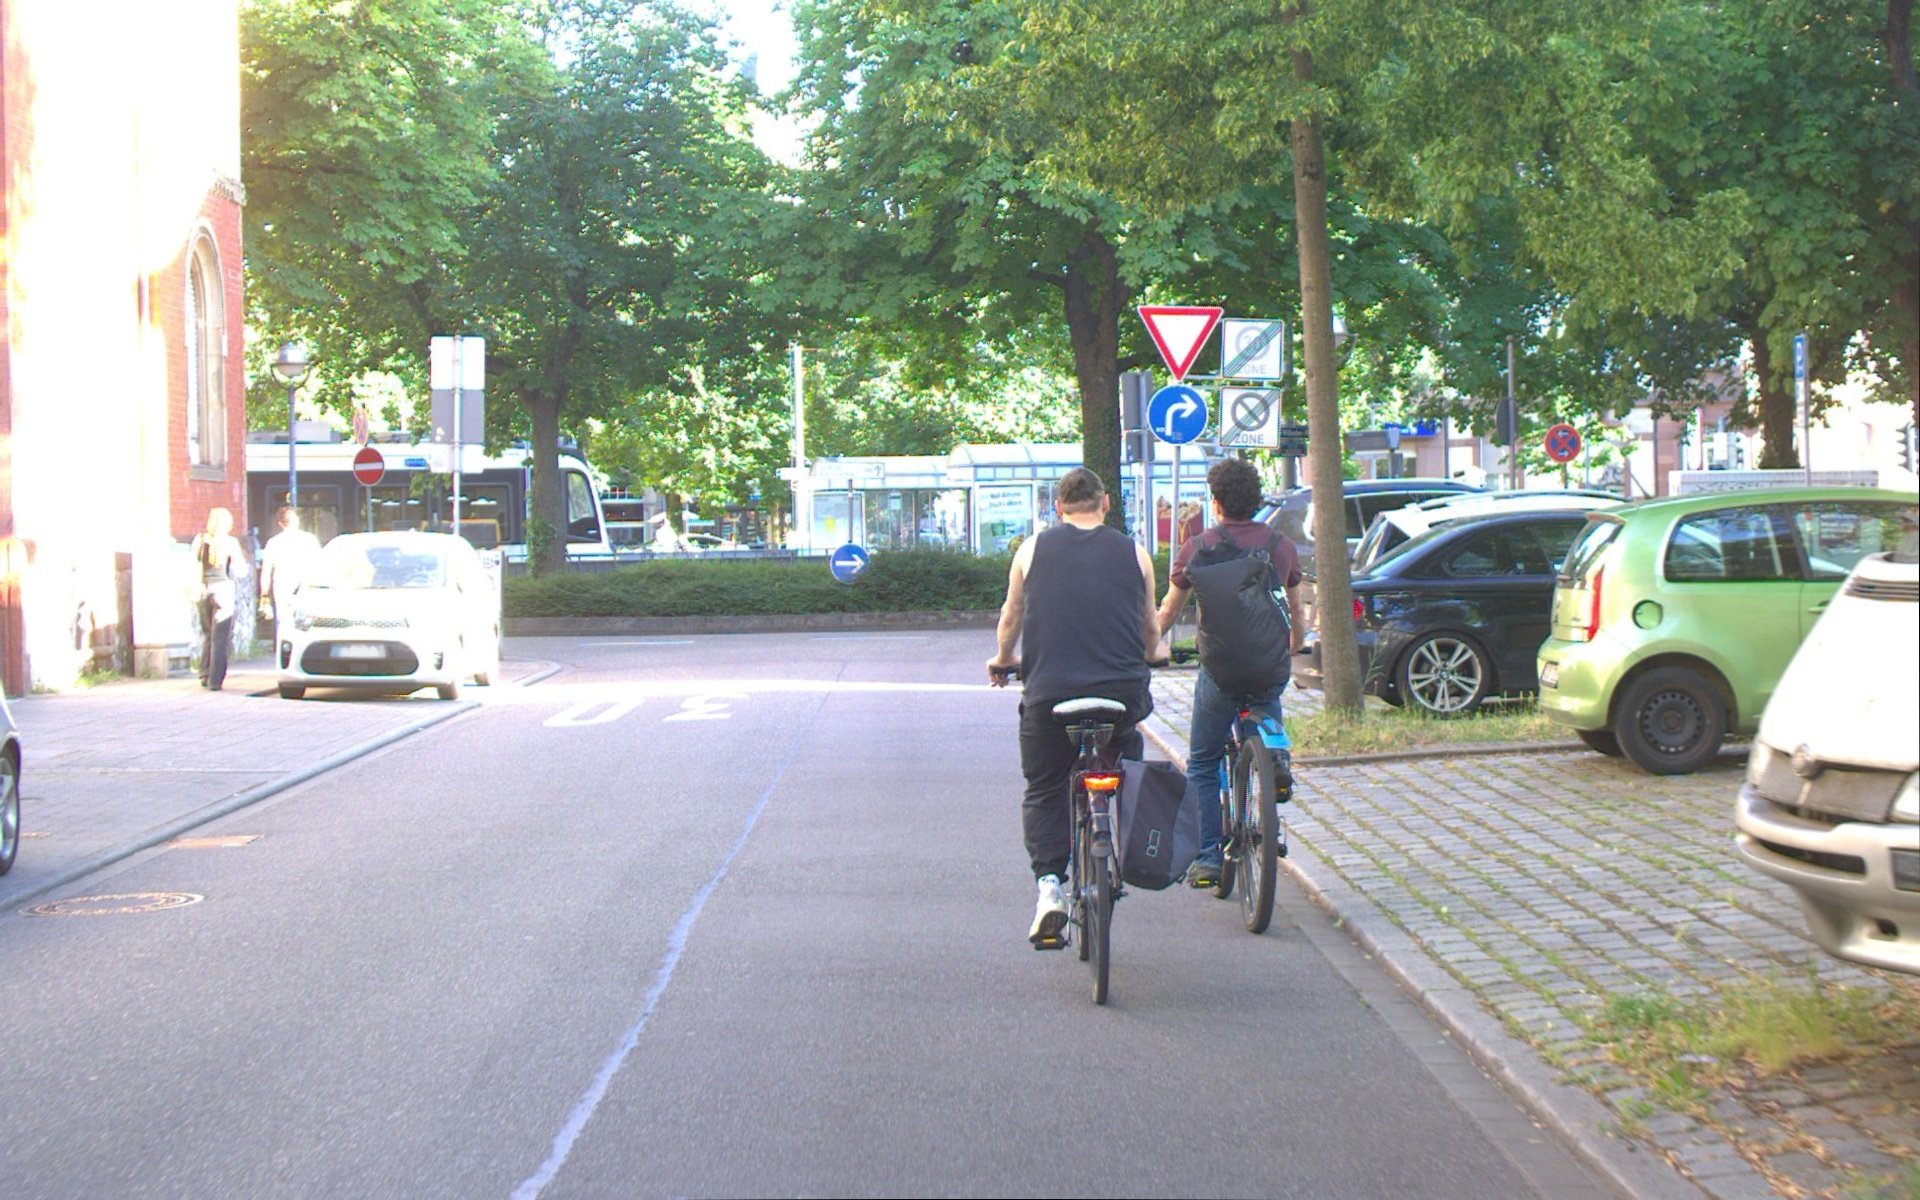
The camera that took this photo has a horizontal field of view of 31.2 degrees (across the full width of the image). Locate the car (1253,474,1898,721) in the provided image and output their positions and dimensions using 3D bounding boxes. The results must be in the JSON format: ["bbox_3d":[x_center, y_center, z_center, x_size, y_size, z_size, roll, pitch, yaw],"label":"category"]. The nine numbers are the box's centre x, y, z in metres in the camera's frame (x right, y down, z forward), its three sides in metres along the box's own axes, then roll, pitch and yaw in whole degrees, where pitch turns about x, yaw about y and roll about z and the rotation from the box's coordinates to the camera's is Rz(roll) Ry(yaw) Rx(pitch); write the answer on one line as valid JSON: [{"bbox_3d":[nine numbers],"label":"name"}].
[{"bbox_3d":[4.221,-0.036,24.034,4.104,1.407,1.792,-4,1,0],"label":"car"}]

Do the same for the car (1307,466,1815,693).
[{"bbox_3d":[4.605,-0.172,26.747,3.693,1.645,1.704,-1,1,3],"label":"car"}]

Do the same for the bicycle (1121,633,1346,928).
[{"bbox_3d":[1.048,0.670,13.581,0.674,1.050,2.061,-1,0,-1],"label":"bicycle"}]

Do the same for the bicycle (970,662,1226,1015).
[{"bbox_3d":[0.427,0.751,11.585,0.737,1.008,2.061,1,1,-1],"label":"bicycle"}]

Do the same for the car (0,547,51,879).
[{"bbox_3d":[-5.067,0.533,14.098,1.744,1.461,4.104,0,1,-3],"label":"car"}]

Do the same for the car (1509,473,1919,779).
[{"bbox_3d":[4.928,0.082,18.648,3.589,1.500,1.678,-2,2,0],"label":"car"}]

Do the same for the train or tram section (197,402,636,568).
[{"bbox_3d":[-11.134,-2.320,70.523,8.415,3.166,2.862,1,1,-23],"label":"train or tram section"}]

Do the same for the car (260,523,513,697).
[{"bbox_3d":[-5.236,0.045,31.812,1.705,1.480,3.797,1,1,0],"label":"car"}]

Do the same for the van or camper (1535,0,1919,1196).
[{"bbox_3d":[5.242,-0.374,8.655,7.075,3.067,2.465,-1,1,-3],"label":"van or camper"}]

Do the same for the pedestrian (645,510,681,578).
[{"bbox_3d":[-7.396,-1.402,85.628,0.701,1.689,0.671,1,1,-22],"label":"pedestrian"}]

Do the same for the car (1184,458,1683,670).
[{"bbox_3d":[4.255,-0.359,31.318,4.105,1.707,2.025,-2,2,-5],"label":"car"}]

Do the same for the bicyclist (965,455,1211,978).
[{"bbox_3d":[0.416,0.367,11.575,0.752,1.676,0.913,-1,1,0],"label":"bicyclist"}]

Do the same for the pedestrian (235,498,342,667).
[{"bbox_3d":[-6.626,-0.179,33.948,0.867,1.637,0.860,-1,1,0],"label":"pedestrian"}]

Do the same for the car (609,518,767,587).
[{"bbox_3d":[-7.702,-1.357,97.359,3.986,1.864,2.000,-2,2,-26],"label":"car"}]

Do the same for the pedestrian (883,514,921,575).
[{"bbox_3d":[-1.498,-1.422,88.192,0.809,1.538,0.821,1,1,-12],"label":"pedestrian"}]

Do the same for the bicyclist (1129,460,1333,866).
[{"bbox_3d":[1.040,0.233,13.414,0.671,1.509,1.069,-1,0,-1],"label":"bicyclist"}]

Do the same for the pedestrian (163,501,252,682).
[{"bbox_3d":[-6.791,-0.087,31.065,0.600,1.599,0.855,-1,1,-2],"label":"pedestrian"}]
